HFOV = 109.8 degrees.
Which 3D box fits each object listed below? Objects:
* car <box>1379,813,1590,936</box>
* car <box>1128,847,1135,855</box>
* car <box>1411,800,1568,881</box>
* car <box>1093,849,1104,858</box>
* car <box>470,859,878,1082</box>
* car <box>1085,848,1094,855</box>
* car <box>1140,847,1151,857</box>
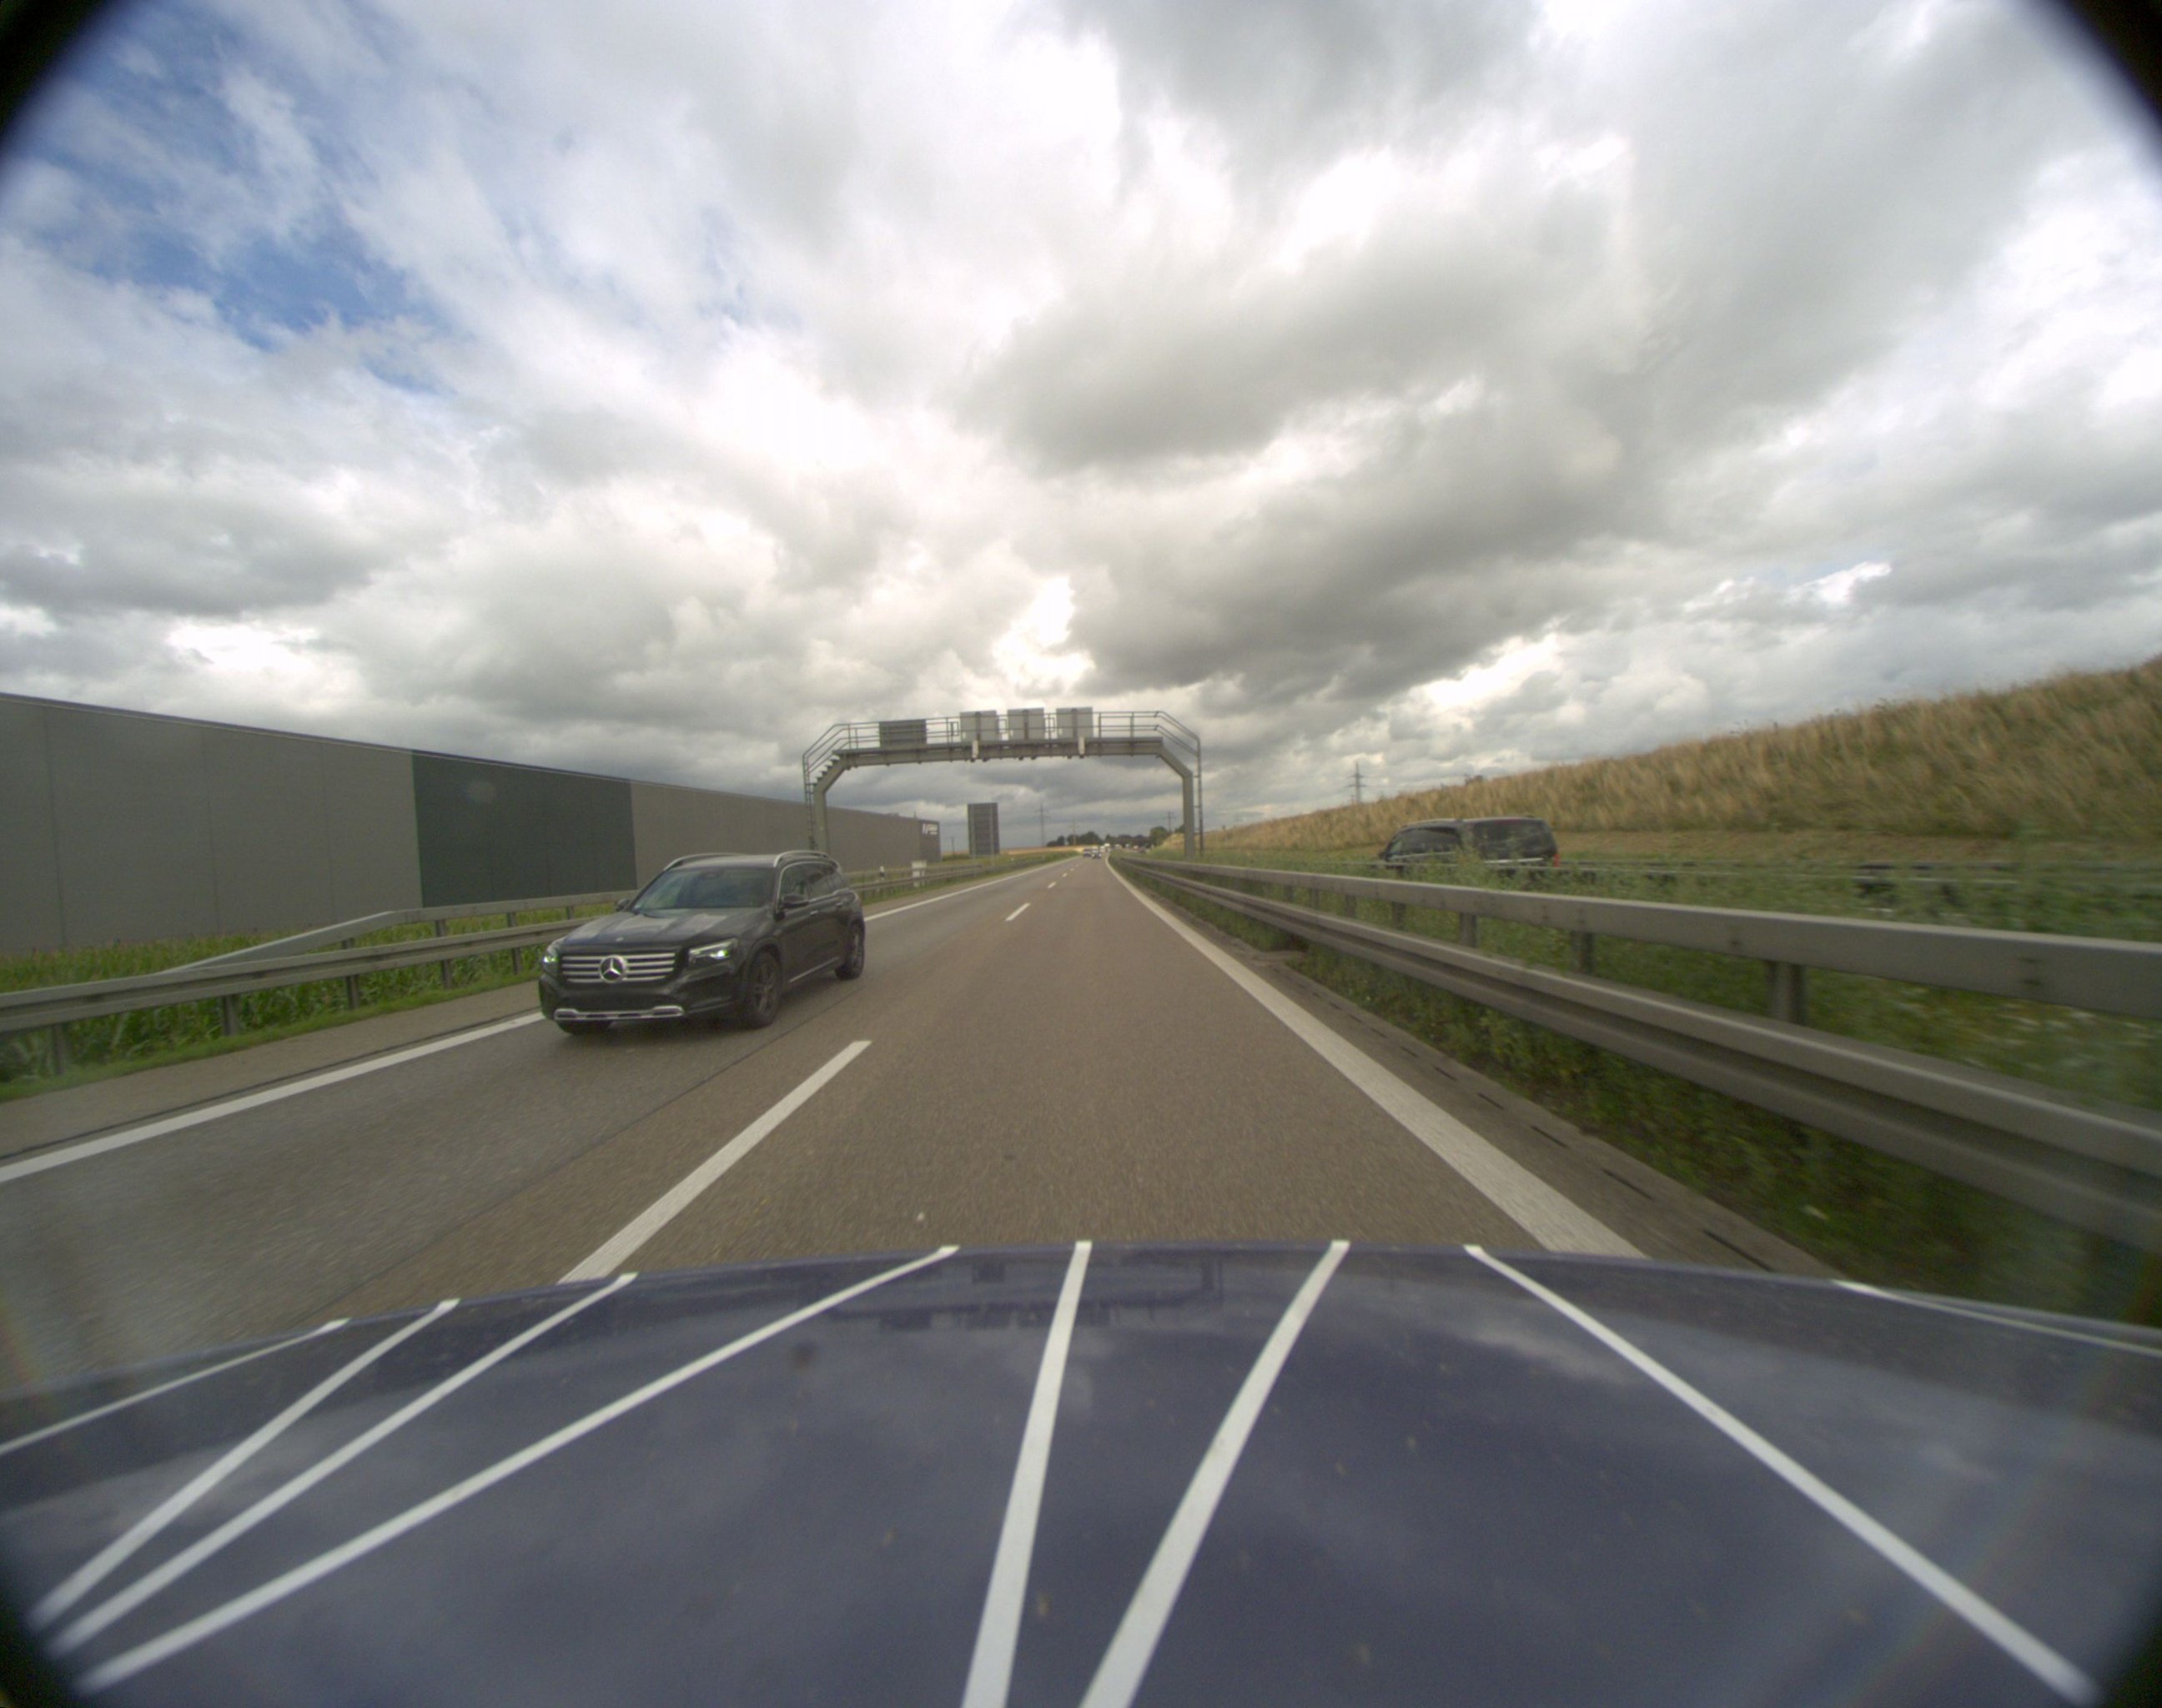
[{"bbox_3d":[7.661,0.320,14.940,1.998,2.002,3.999,-3,1,1],"label":"car"},{"bbox_3d":[17.015,-0.995,256.635,1.998,2.335,5.870,-3,1,1],"label":"car"},{"bbox_3d":[11.529,-0.351,21.904,1.998,2.002,4.707,-2,0,1],"label":"car"},{"bbox_3d":[3.592,-0.088,154.917,1.998,1.696,4.662,-4,0,1],"label":"car"},{"bbox_3d":[-3.793,0.938,8.168,1.838,1.600,4.360,-2,1,2],"label":"car"},{"bbox_3d":[2.176,-0.700,196.701,1.998,1.812,4.343,-2,1,4],"label":"car"},{"bbox_3d":[11.351,-0.316,133.862,1.741,1.581,3.999,-3,1,1],"label":"car"}]
